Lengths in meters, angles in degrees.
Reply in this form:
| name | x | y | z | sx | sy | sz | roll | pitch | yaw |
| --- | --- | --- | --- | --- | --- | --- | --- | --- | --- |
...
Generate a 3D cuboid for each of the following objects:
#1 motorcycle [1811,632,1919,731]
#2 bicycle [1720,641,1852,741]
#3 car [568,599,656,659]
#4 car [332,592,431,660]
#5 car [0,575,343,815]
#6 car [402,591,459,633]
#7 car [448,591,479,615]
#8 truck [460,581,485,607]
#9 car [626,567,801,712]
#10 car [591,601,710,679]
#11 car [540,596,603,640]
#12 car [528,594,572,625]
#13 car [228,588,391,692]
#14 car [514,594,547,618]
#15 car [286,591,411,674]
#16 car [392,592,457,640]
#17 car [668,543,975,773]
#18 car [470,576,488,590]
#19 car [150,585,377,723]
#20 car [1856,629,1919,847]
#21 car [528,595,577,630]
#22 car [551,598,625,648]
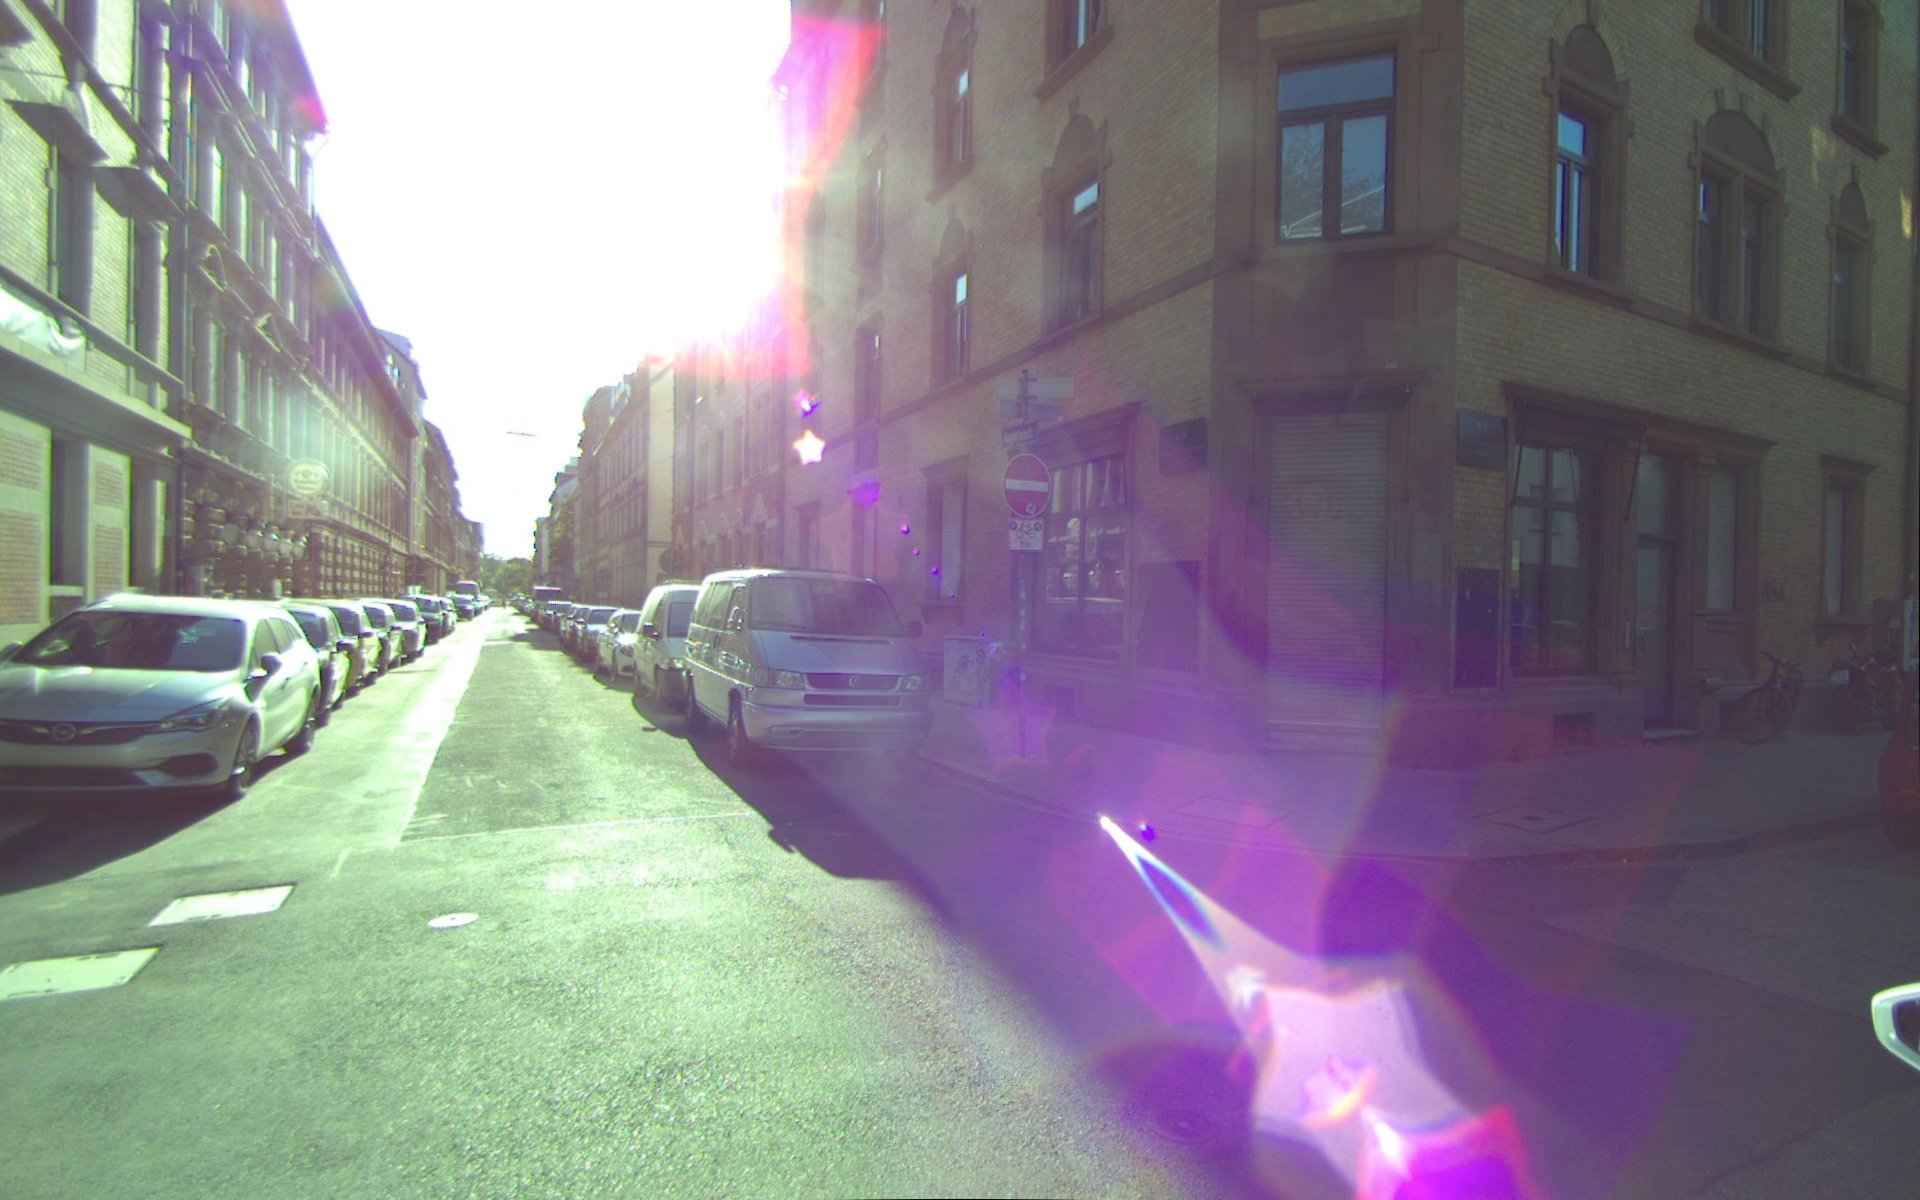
| name | x | y | z | sx | sy | sz | roll | pitch | yaw |
| --- | --- | --- | --- | --- | --- | --- | --- | --- | --- |
| motorcycle | 12.036 | 1.050 | 13.326 | 1.886 | 1.222 | 0.531 | 1 | 0 | -30 |
| bicycle | 9.974 | 1.063 | 12.116 | 1.869 | 1.088 | 0.530 | 1 | 4 | -30 |
| car | -9.733 | 0.746 | 27.875 | 1.756 | 1.504 | 4.334 | 1 | 0 | -26 |
| car | -14.750 | 0.628 | 25.769 | 1.748 | 1.550 | 3.514 | 4 | -1 | -24 |
| car | -6.816 | 0.637 | 8.709 | 1.842 | 1.550 | 4.415 | 4 | -1 | -24 |
| car | -21.446 | 0.473 | 40.794 | 1.748 | 1.550 | 3.514 | 4 | -1 | -24 |
| car | -33.273 | 0.185 | 67.327 | 1.756 | 1.504 | 4.334 | 1 | 0 | -26 |
| truck | -40.377 | -0.478 | 83.168 | 1.756 | 2.018 | 4.334 | 1 | 0 | -26 |
| car | -4.054 | 0.571 | 15.966 | 1.913 | 1.919 | 4.339 | 4 | -1 | -23 |
| car | -6.733 | 0.788 | 21.539 | 1.756 | 1.461 | 4.334 | 1 | 0 | -26 |
| car | -14.148 | 0.618 | 36.454 | 1.756 | 1.504 | 4.334 | 1 | 0 | -26 |
| car | -20.860 | 0.474 | 50.985 | 1.756 | 1.504 | 4.334 | 1 | 0 | -26 |
| car | -11.071 | 0.645 | 17.348 | 1.748 | 1.550 | 3.514 | 4 | -1 | -24 |
| car | -28.401 | 0.373 | 66.407 | 1.756 | 1.504 | 4.334 | 1 | 0 | -26 |
| car | -12.956 | 0.647 | 21.471 | 1.748 | 1.550 | 3.514 | 4 | -1 | -24 |
| car | -19.344 | 0.557 | 36.383 | 1.748 | 1.550 | 3.514 | 4 | -1 | -24 |
| car | -1.772 | 0.525 | 10.926 | 1.999 | 1.919 | 4.698 | 3 | -1 | -24 |
| car | -53.945 | -1.922 | 112.610 | 1.756 | 1.504 | 4.334 | 1 | 0 | -26 |
| car | -9.083 | 0.650 | 13.434 | 1.748 | 1.550 | 3.670 | 4 | -1 | -24 |
| car | 8.394 | 0.971 | 7.467 | 3.560 | 1.500 | 1.620 | 1 | -2 | -31 |
| car | -18.624 | 0.543 | 45.784 | 1.756 | 1.504 | 4.334 | 1 | 0 | -26 |
| car | -11.965 | 0.696 | 32.161 | 1.756 | 1.504 | 4.334 | 1 | 0 | -26 |
